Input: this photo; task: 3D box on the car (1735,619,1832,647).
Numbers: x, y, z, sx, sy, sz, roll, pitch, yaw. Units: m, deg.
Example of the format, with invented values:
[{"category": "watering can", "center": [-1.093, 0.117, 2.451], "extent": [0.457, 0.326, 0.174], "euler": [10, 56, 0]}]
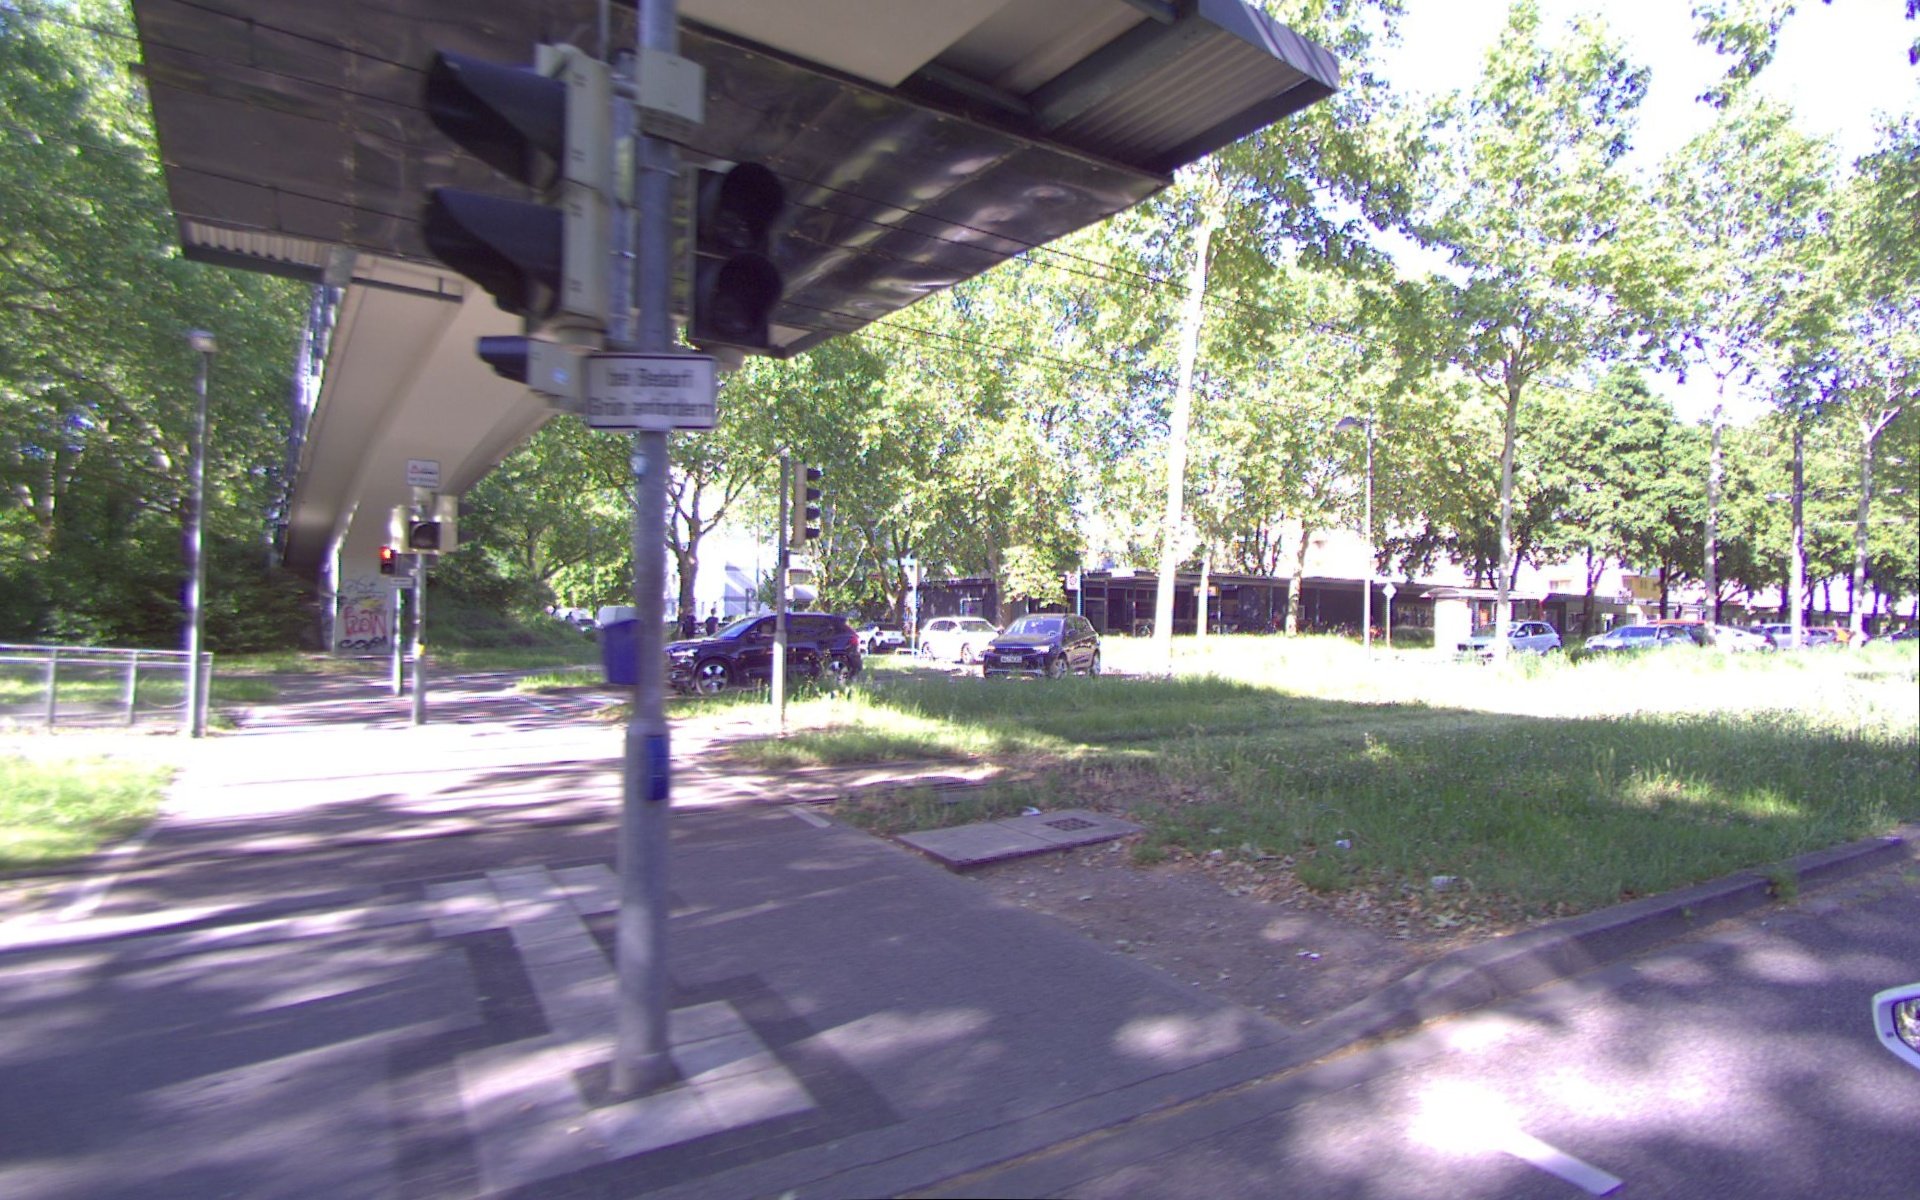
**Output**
[{"category": "car", "center": [47.569, 1.891, 58.078], "extent": [3.919, 1.530, 1.801], "euler": [0, -1, 14]}]

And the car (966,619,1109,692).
[{"category": "car", "center": [1.968, 1.262, 24.226], "extent": [1.768, 1.587, 4.279], "euler": [0, -1, 30]}]

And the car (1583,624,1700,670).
[{"category": "car", "center": [24.160, 1.634, 35.551], "extent": [4.624, 1.530, 1.784], "euler": [1, -1, -33]}]

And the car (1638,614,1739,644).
[{"category": "car", "center": [38.195, 1.510, 52.771], "extent": [3.919, 1.530, 1.801], "euler": [0, -1, 14]}]

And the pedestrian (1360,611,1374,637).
[{"category": "pedestrian", "center": [26.704, 1.554, 65.928], "extent": [0.644, 1.683, 0.644], "euler": [1, -1, -35]}]

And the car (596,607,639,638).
[{"category": "car", "center": [-28.255, 1.847, 82.700], "extent": [2.042, 2.468, 4.959], "euler": [1, -1, -35]}]

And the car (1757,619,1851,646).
[{"category": "car", "center": [50.483, 1.948, 60.172], "extent": [3.919, 1.530, 1.801], "euler": [0, -1, 14]}]

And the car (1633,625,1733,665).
[{"category": "car", "center": [29.343, 1.788, 40.745], "extent": [3.951, 1.530, 1.787], "euler": [1, -1, -29]}]

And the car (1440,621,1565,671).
[{"category": "car", "center": [18.370, 1.516, 33.965], "extent": [4.237, 1.601, 1.786], "euler": [1, -1, -30]}]

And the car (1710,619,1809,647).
[{"category": "car", "center": [44.554, 1.831, 56.032], "extent": [3.920, 1.530, 1.801], "euler": [0, -1, 17]}]

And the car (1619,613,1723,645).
[{"category": "car", "center": [35.979, 1.470, 50.940], "extent": [3.919, 1.530, 1.801], "euler": [0, -1, 14]}]

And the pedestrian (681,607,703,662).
[{"category": "pedestrian", "center": [-8.961, 1.147, 33.616], "extent": [0.638, 1.807, 0.649], "euler": [0, -1, -9]}]

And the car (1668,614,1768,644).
[{"category": "car", "center": [41.288, 1.574, 54.801], "extent": [3.919, 1.530, 1.801], "euler": [0, -1, 14]}]

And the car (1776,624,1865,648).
[{"category": "car", "center": [55.112, 2.291, 64.413], "extent": [3.919, 1.530, 1.801], "euler": [0, -1, 14]}]

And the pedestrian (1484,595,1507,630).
[{"category": "pedestrian", "center": [22.699, 0.538, 42.591], "extent": [0.642, 1.479, 0.645], "euler": [1, -1, -28]}]

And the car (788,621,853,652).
[{"category": "car", "center": [-7.403, 1.913, 53.080], "extent": [1.782, 1.530, 3.960], "euler": [1, -1, -35]}]

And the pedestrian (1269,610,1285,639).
[{"category": "pedestrian", "center": [18.871, 1.453, 59.828], "extent": [0.644, 1.683, 0.644], "euler": [1, -1, -35]}]

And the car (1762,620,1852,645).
[{"category": "car", "center": [52.712, 2.012, 62.587], "extent": [3.919, 1.530, 1.801], "euler": [0, -1, 14]}]

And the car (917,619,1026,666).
[{"category": "car", "center": [0.345, 1.459, 35.394], "extent": [1.783, 1.530, 4.046], "euler": [1, -1, -36]}]

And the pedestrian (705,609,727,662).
[{"category": "pedestrian", "center": [-8.176, 1.185, 33.701], "extent": [0.638, 1.728, 0.649], "euler": [0, -1, -9]}]

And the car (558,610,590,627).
[{"category": "car", "center": [-36.351, 1.757, 94.563], "extent": [1.847, 1.530, 3.960], "euler": [1, -1, -35]}]

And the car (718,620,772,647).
[{"category": "car", "center": [-13.106, 2.010, 61.154], "extent": [1.782, 1.530, 3.960], "euler": [1, -1, -35]}]

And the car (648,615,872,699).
[{"category": "car", "center": [-4.108, 1.132, 20.906], "extent": [4.244, 1.587, 1.783], "euler": [1, -1, -34]}]

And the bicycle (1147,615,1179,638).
[{"category": "bicycle", "center": [10.082, 1.305, 49.743], "extent": [1.785, 1.122, 0.550], "euler": [1, -1, -39]}]

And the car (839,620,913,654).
[{"category": "car", "center": [-4.073, 1.740, 48.316], "extent": [1.782, 1.530, 3.960], "euler": [1, -1, -35]}]
